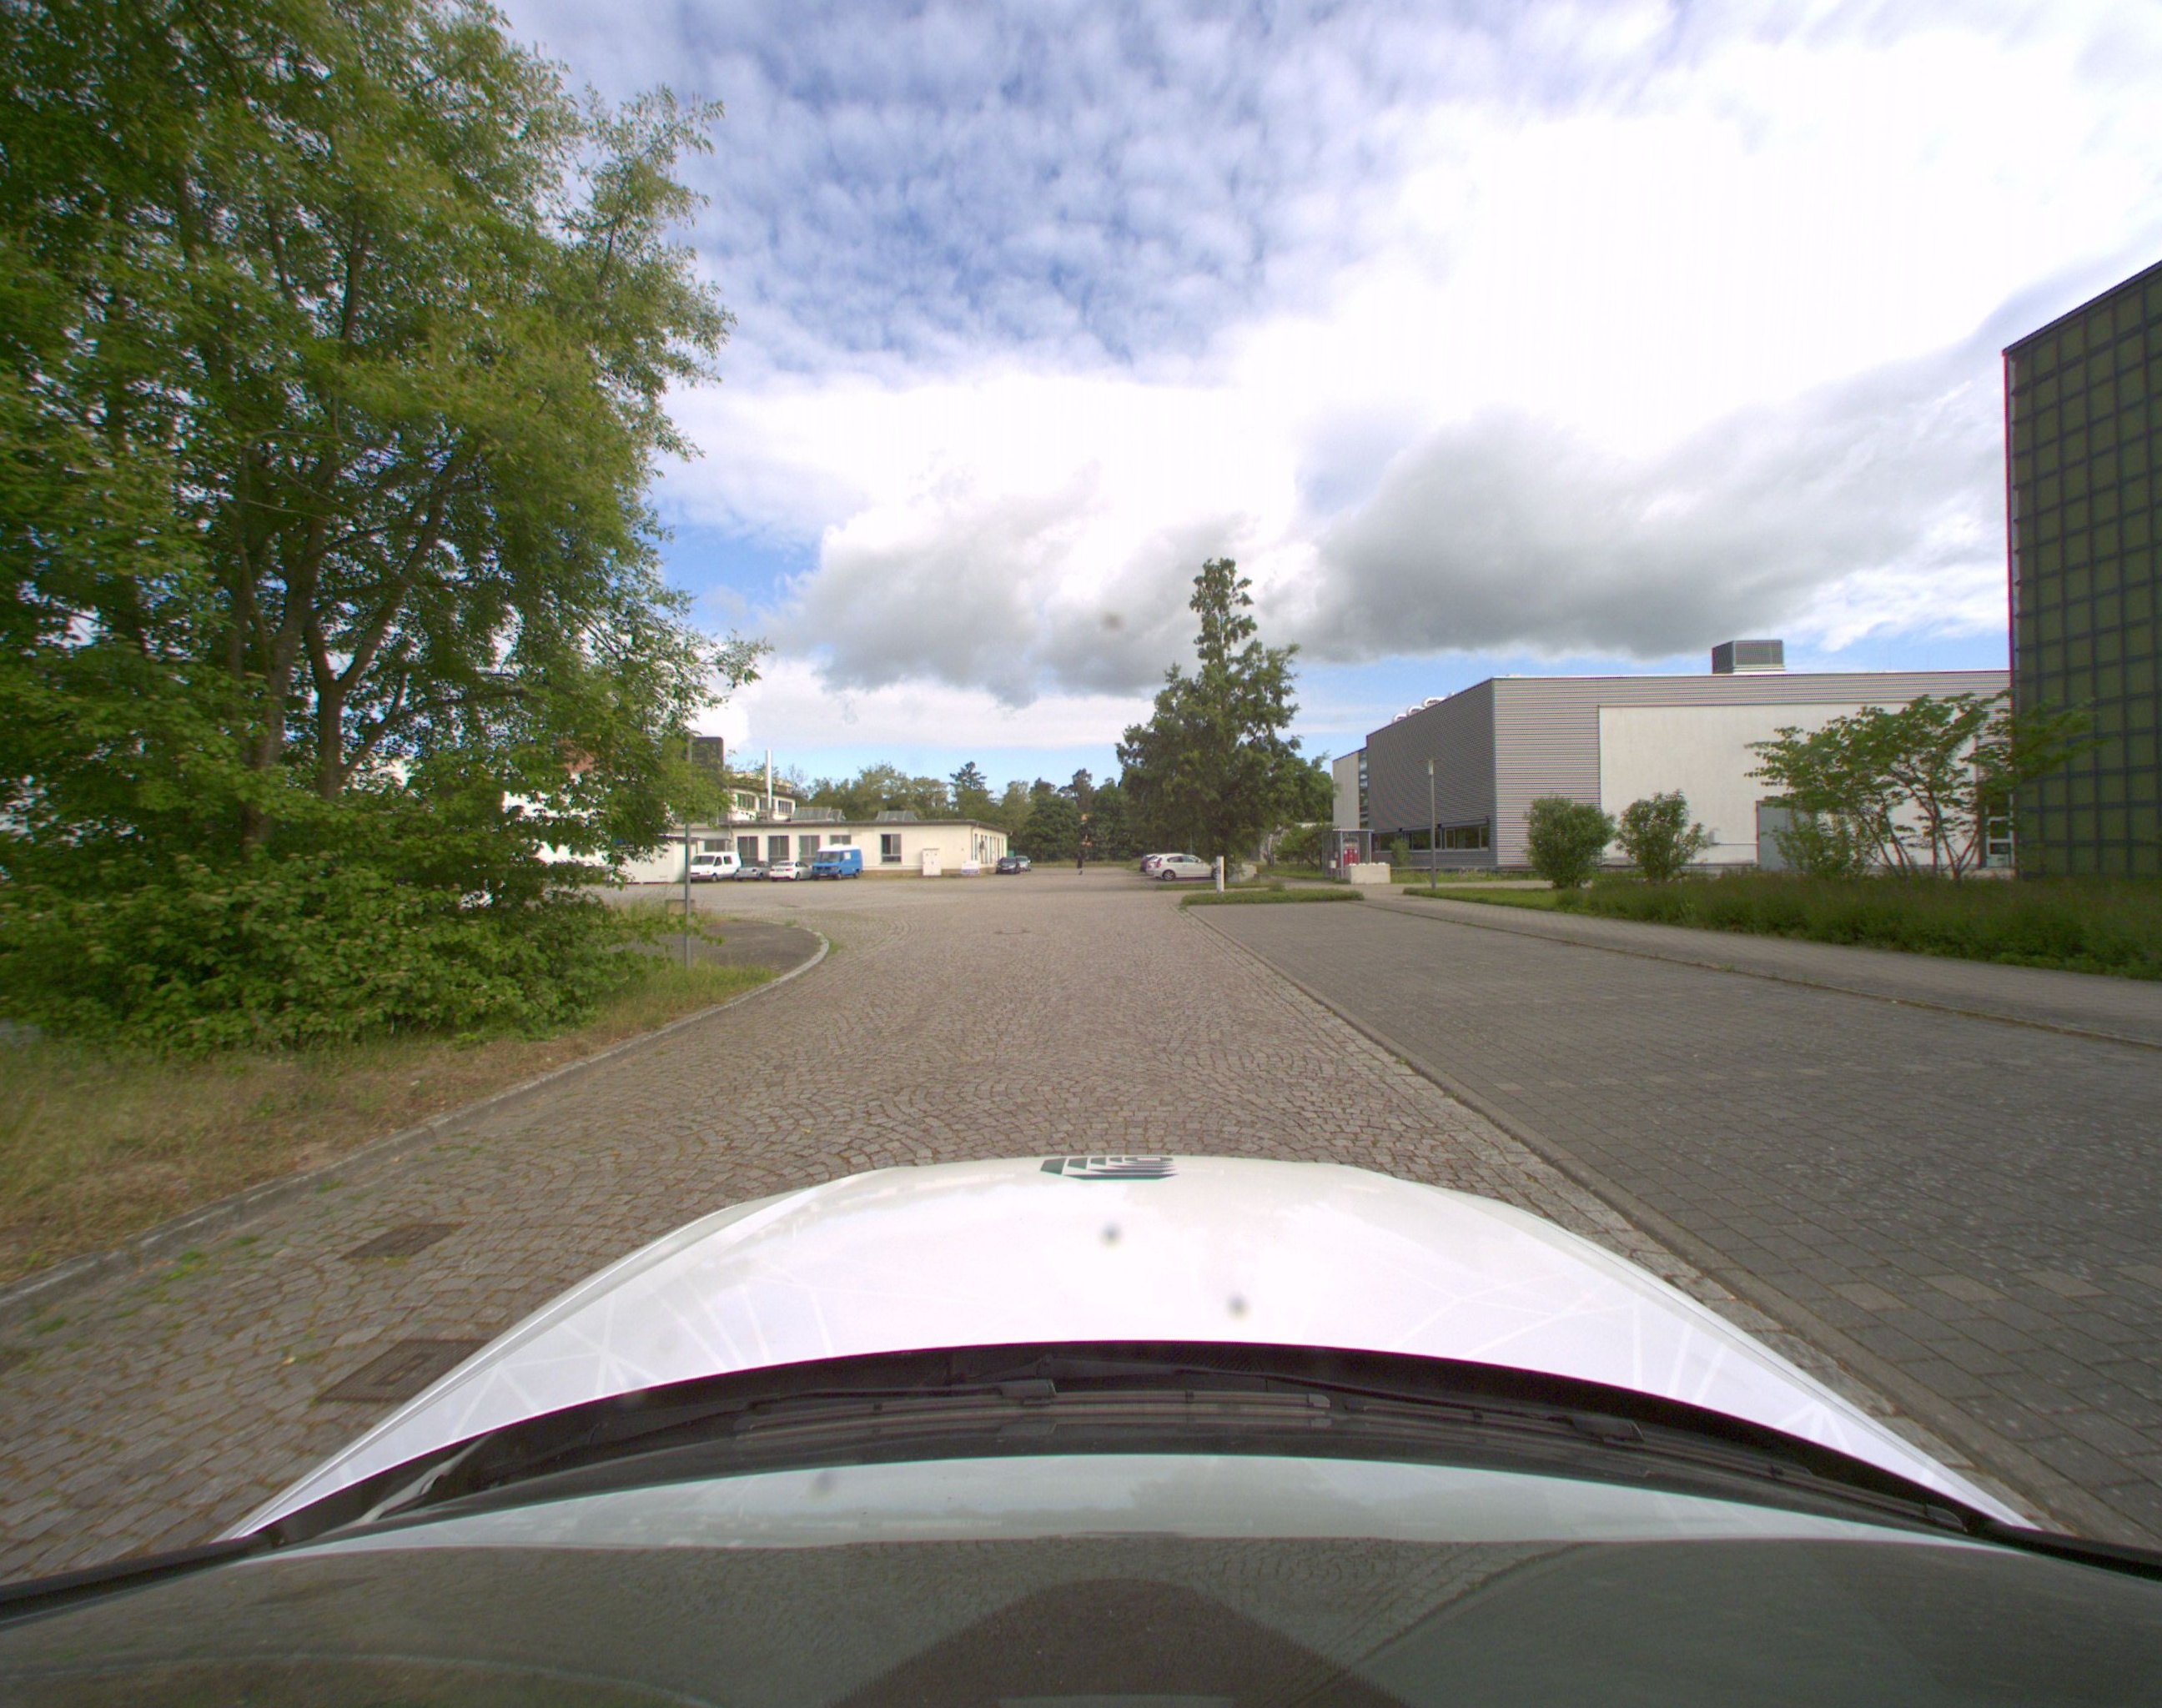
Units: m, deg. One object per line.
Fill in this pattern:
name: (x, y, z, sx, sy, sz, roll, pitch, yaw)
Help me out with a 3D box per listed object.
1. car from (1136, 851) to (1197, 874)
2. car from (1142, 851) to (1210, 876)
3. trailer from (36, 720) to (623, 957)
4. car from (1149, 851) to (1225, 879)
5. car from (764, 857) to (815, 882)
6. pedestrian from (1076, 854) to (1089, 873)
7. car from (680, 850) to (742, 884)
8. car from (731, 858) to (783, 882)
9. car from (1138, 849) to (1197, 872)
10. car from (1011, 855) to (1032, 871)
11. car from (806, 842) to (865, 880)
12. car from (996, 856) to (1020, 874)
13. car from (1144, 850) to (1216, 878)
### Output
car: (5.769, 0.559, 55.192, 3.972, 1.455, 1.770, -1, 0, 1)
car: (5.826, 0.588, 50.285, 3.972, 1.455, 1.770, -1, 0, 1)
trailer: (-14.950, -0.236, 18.268, 2.645, 3.705, 10.732, -1, 0, 4)
car: (5.801, 0.600, 45.075, 3.972, 1.455, 2.001, -1, -1, 1)
car: (-20.203, 1.035, 56.534, 1.893, 1.575, 4.003, -1, 0, 3)
pedestrian: (0.116, 0.781, 66.732, 0.937, 1.568, 0.970, -1, 0, -2)
car: (-25.858, 0.889, 57.109, 1.892, 2.206, 4.788, -1, 0, 4)
car: (-22.835, 1.077, 57.549, 1.893, 1.575, 4.003, -1, 0, 3)
car: (6.171, 0.457, 58.403, 3.977, 1.533, 1.998, -1, 0, -3)
car: (-5.805, 0.827, 79.446, 1.744, 1.454, 3.998, -1, 0, -1)
car: (-17.329, 0.460, 57.776, 1.984, 2.523, 5.625, -1, 0, 5)
car: (-6.175, 0.914, 69.216, 1.744, 1.364, 3.998, -1, 0, -1)
car: (5.692, 0.571, 47.246, 3.972, 1.455, 1.698, -1, 0, 1)
